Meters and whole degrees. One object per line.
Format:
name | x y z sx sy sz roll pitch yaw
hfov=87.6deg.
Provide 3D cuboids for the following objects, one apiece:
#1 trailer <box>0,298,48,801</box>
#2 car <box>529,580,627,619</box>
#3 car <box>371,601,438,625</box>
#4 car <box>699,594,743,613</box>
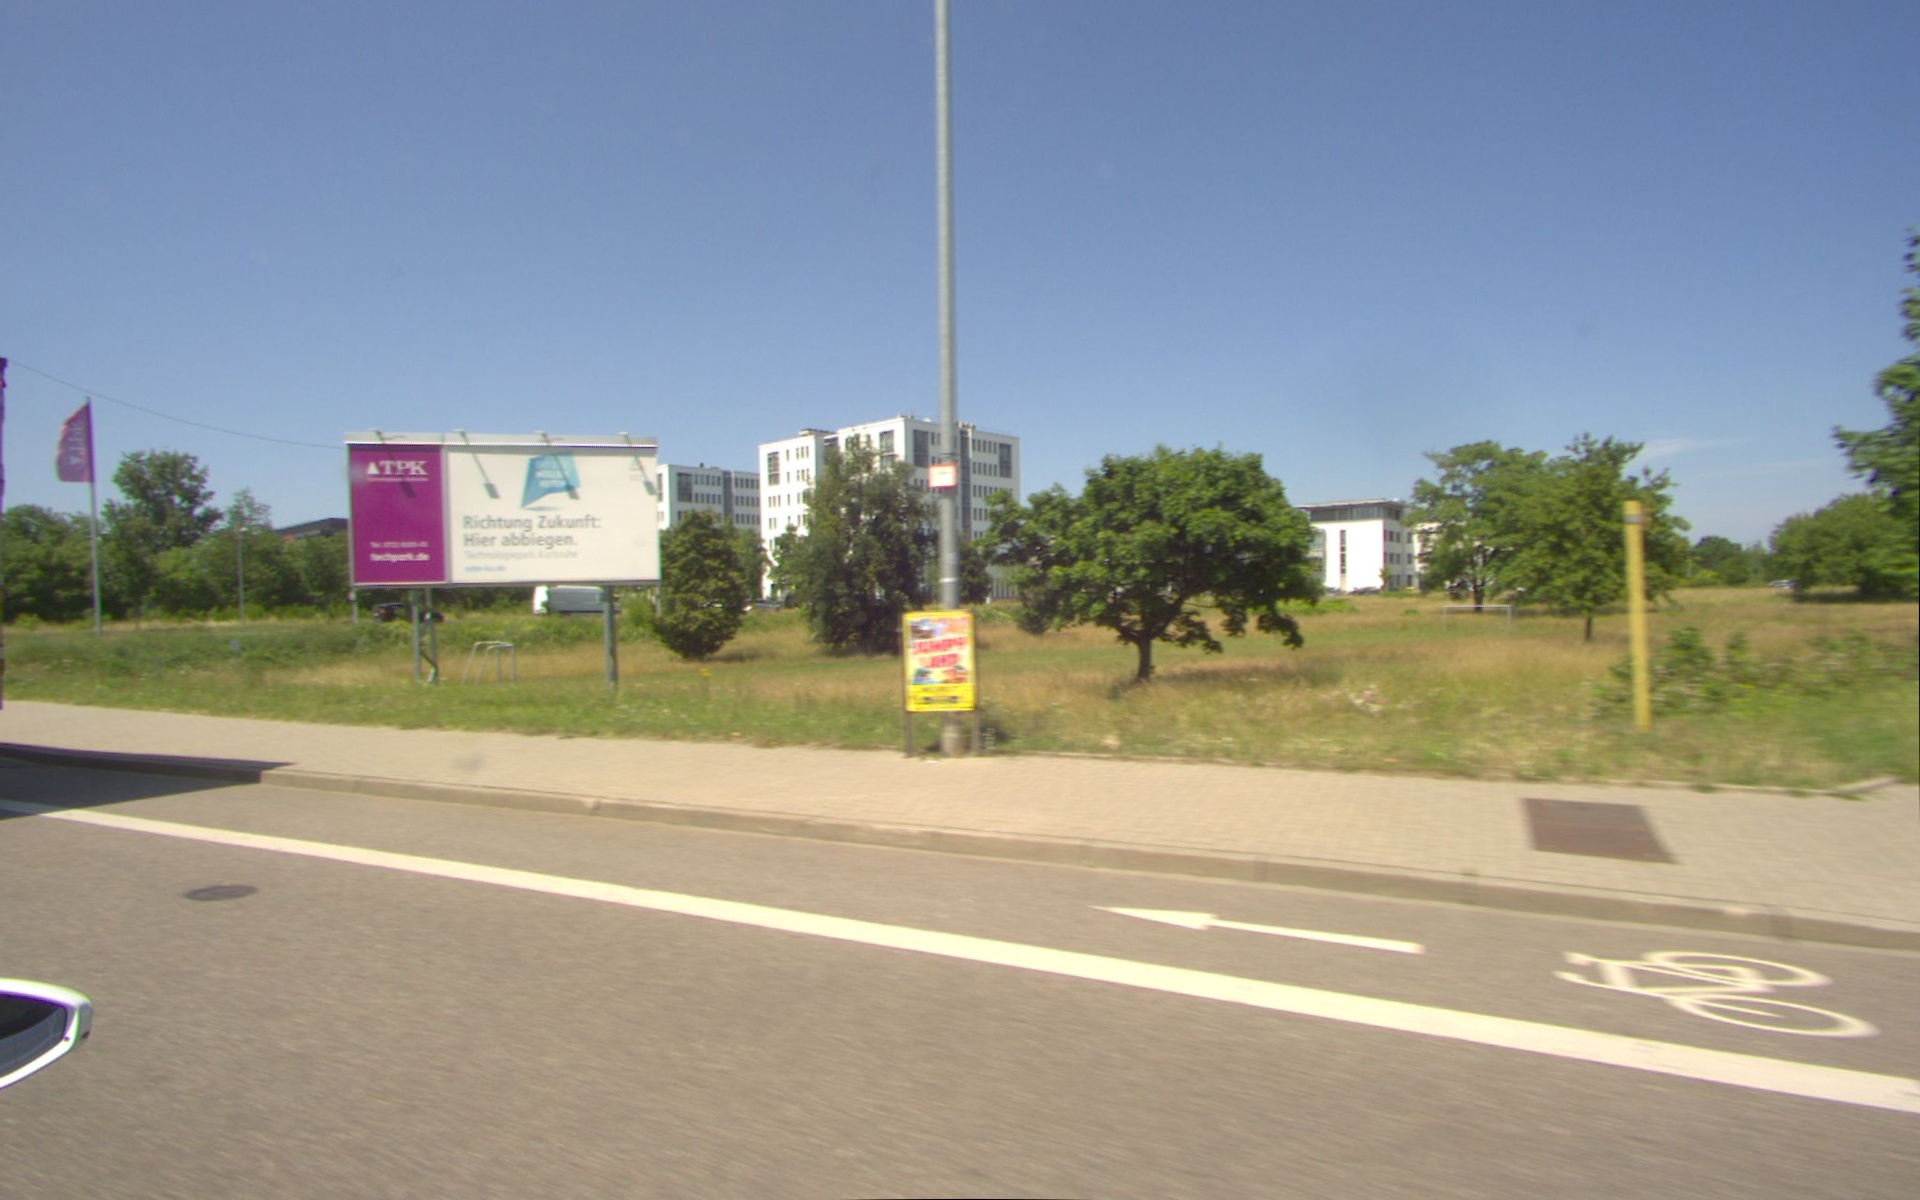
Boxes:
trailer | -12.717 -0.383 9.203 9.651 4.123 3.077 0 0 26
car | -29.892 -0.004 78.522 2.635 2.838 6.805 -1 -1 37
car | -37.464 0.916 67.588 1.682 1.553 3.608 0 -1 33
car | -21.330 0.326 89.564 1.685 1.553 3.602 0 -1 39
